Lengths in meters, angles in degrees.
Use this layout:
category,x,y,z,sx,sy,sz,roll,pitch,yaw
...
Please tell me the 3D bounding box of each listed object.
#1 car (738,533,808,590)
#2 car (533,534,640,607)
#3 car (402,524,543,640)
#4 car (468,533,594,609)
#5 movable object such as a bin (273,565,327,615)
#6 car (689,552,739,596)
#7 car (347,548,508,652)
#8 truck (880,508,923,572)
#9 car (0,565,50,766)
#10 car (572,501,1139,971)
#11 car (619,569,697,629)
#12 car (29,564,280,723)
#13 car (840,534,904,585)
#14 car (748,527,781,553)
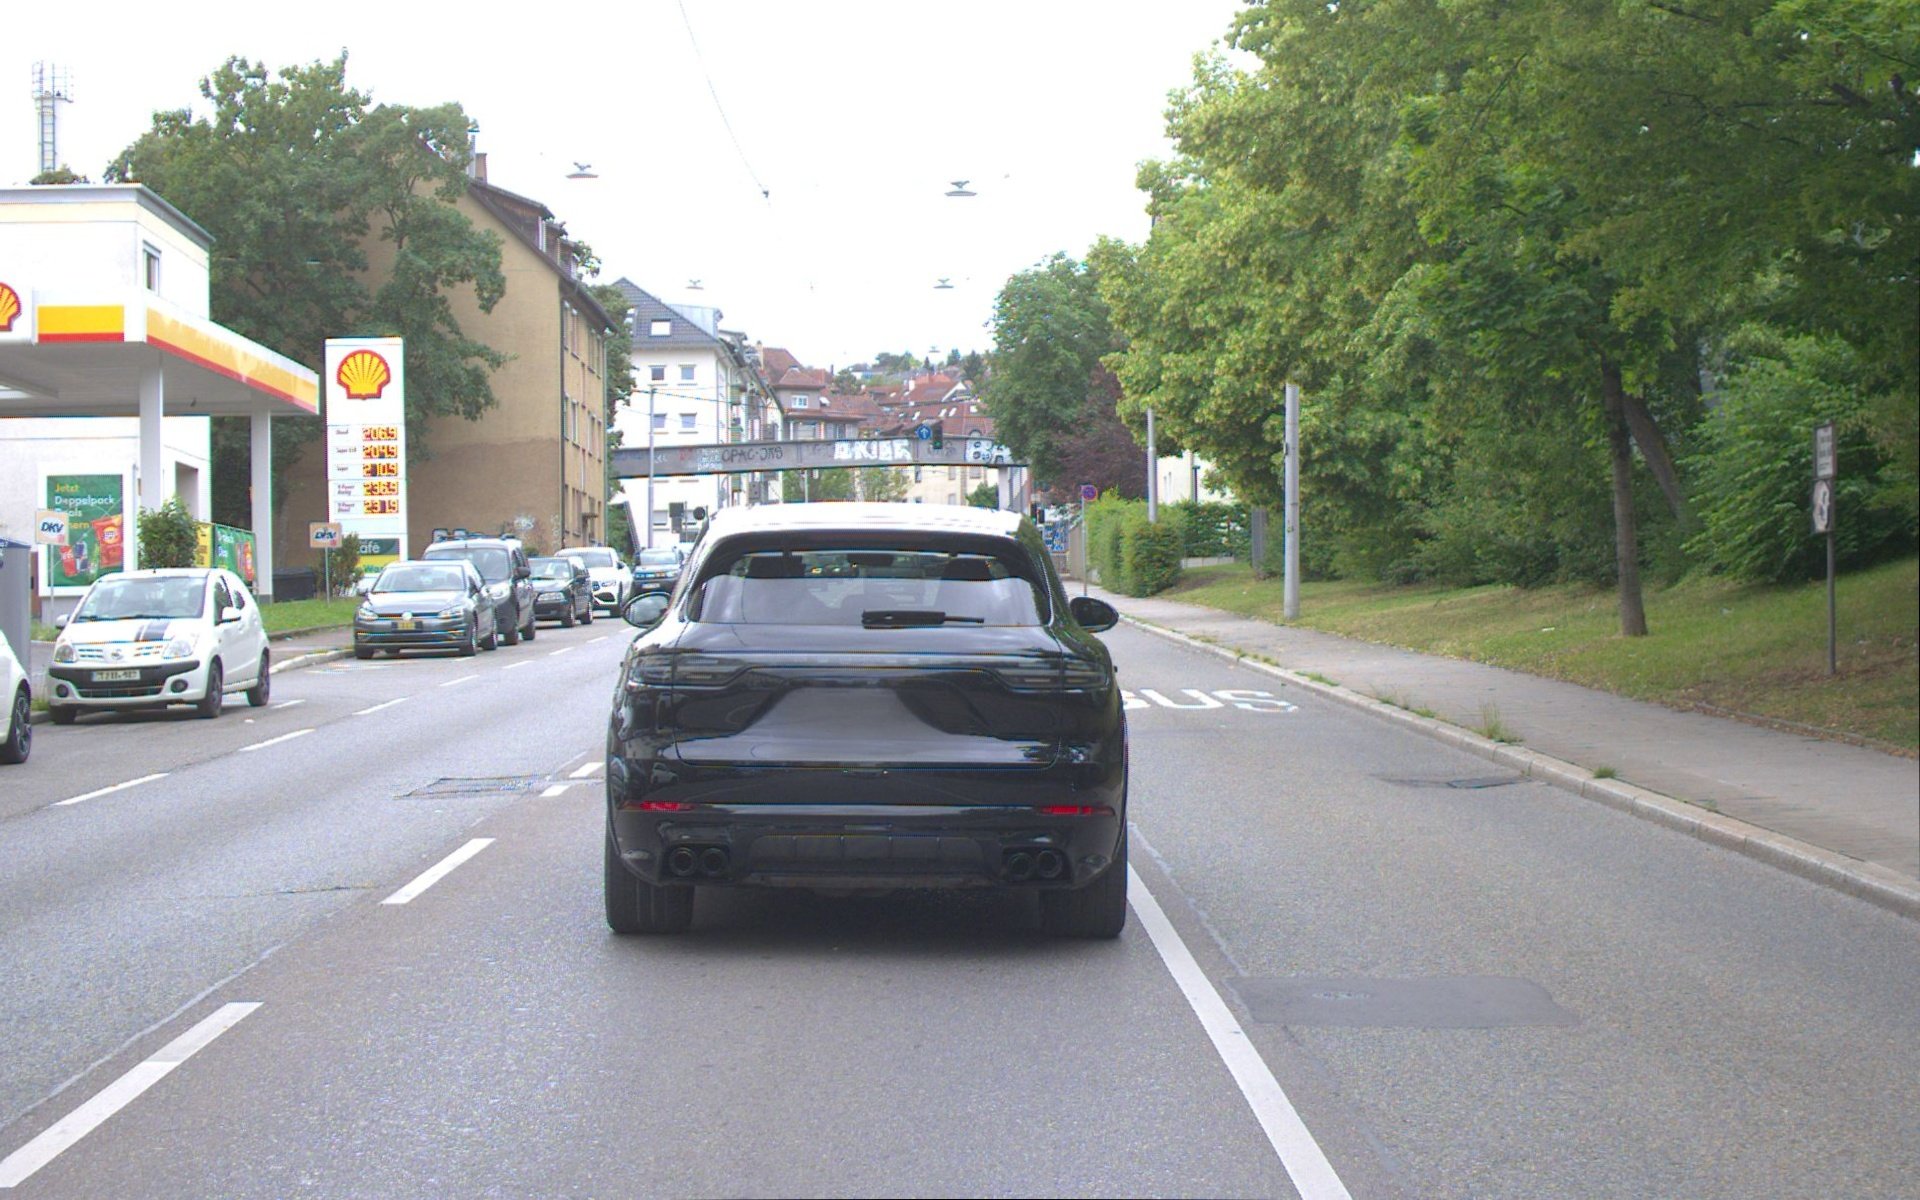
category,x,y,z,sx,sy,sz,roll,pitch,yaw
car,-5.306,-1.106,97.930,1.797,1.520,4.000,-2,1,-1
car,-8.514,-0.687,78.707,1.915,1.572,4.700,-1,1,0
car,-8.201,-0.333,58.180,1.851,1.829,4.702,-2,1,-2
car,-8.629,-0.604,69.435,1.798,1.426,4.743,-2,1,1
movable object such as a bin,-18.819,-0.285,97.994,1.392,1.423,0.913,0,1,-3
car,-9.325,-0.993,130.637,1.745,1.563,3.909,-2,1,-3
car,-8.049,-0.030,52.277,1.790,1.445,4.218,-2,1,-1
truck,-3.224,-3.260,190.009,2.266,3.413,9.879,-1,1,-1
car,-7.883,0.513,25.097,1.547,1.470,3.604,-1,1,-1
car,-0.381,0.429,14.115,1.993,1.656,4.000,0,1,0
car,-8.786,-0.052,100.283,1.783,1.603,4.264,-3,1,0
car,-7.943,0.394,34.190,1.619,1.420,3.665,-1,1,0
car,-2.479,-1.159,97.860,1.741,1.395,4.000,0,1,0
car,-11.834,-3.628,208.274,1.765,1.503,4.000,-1,1,0
